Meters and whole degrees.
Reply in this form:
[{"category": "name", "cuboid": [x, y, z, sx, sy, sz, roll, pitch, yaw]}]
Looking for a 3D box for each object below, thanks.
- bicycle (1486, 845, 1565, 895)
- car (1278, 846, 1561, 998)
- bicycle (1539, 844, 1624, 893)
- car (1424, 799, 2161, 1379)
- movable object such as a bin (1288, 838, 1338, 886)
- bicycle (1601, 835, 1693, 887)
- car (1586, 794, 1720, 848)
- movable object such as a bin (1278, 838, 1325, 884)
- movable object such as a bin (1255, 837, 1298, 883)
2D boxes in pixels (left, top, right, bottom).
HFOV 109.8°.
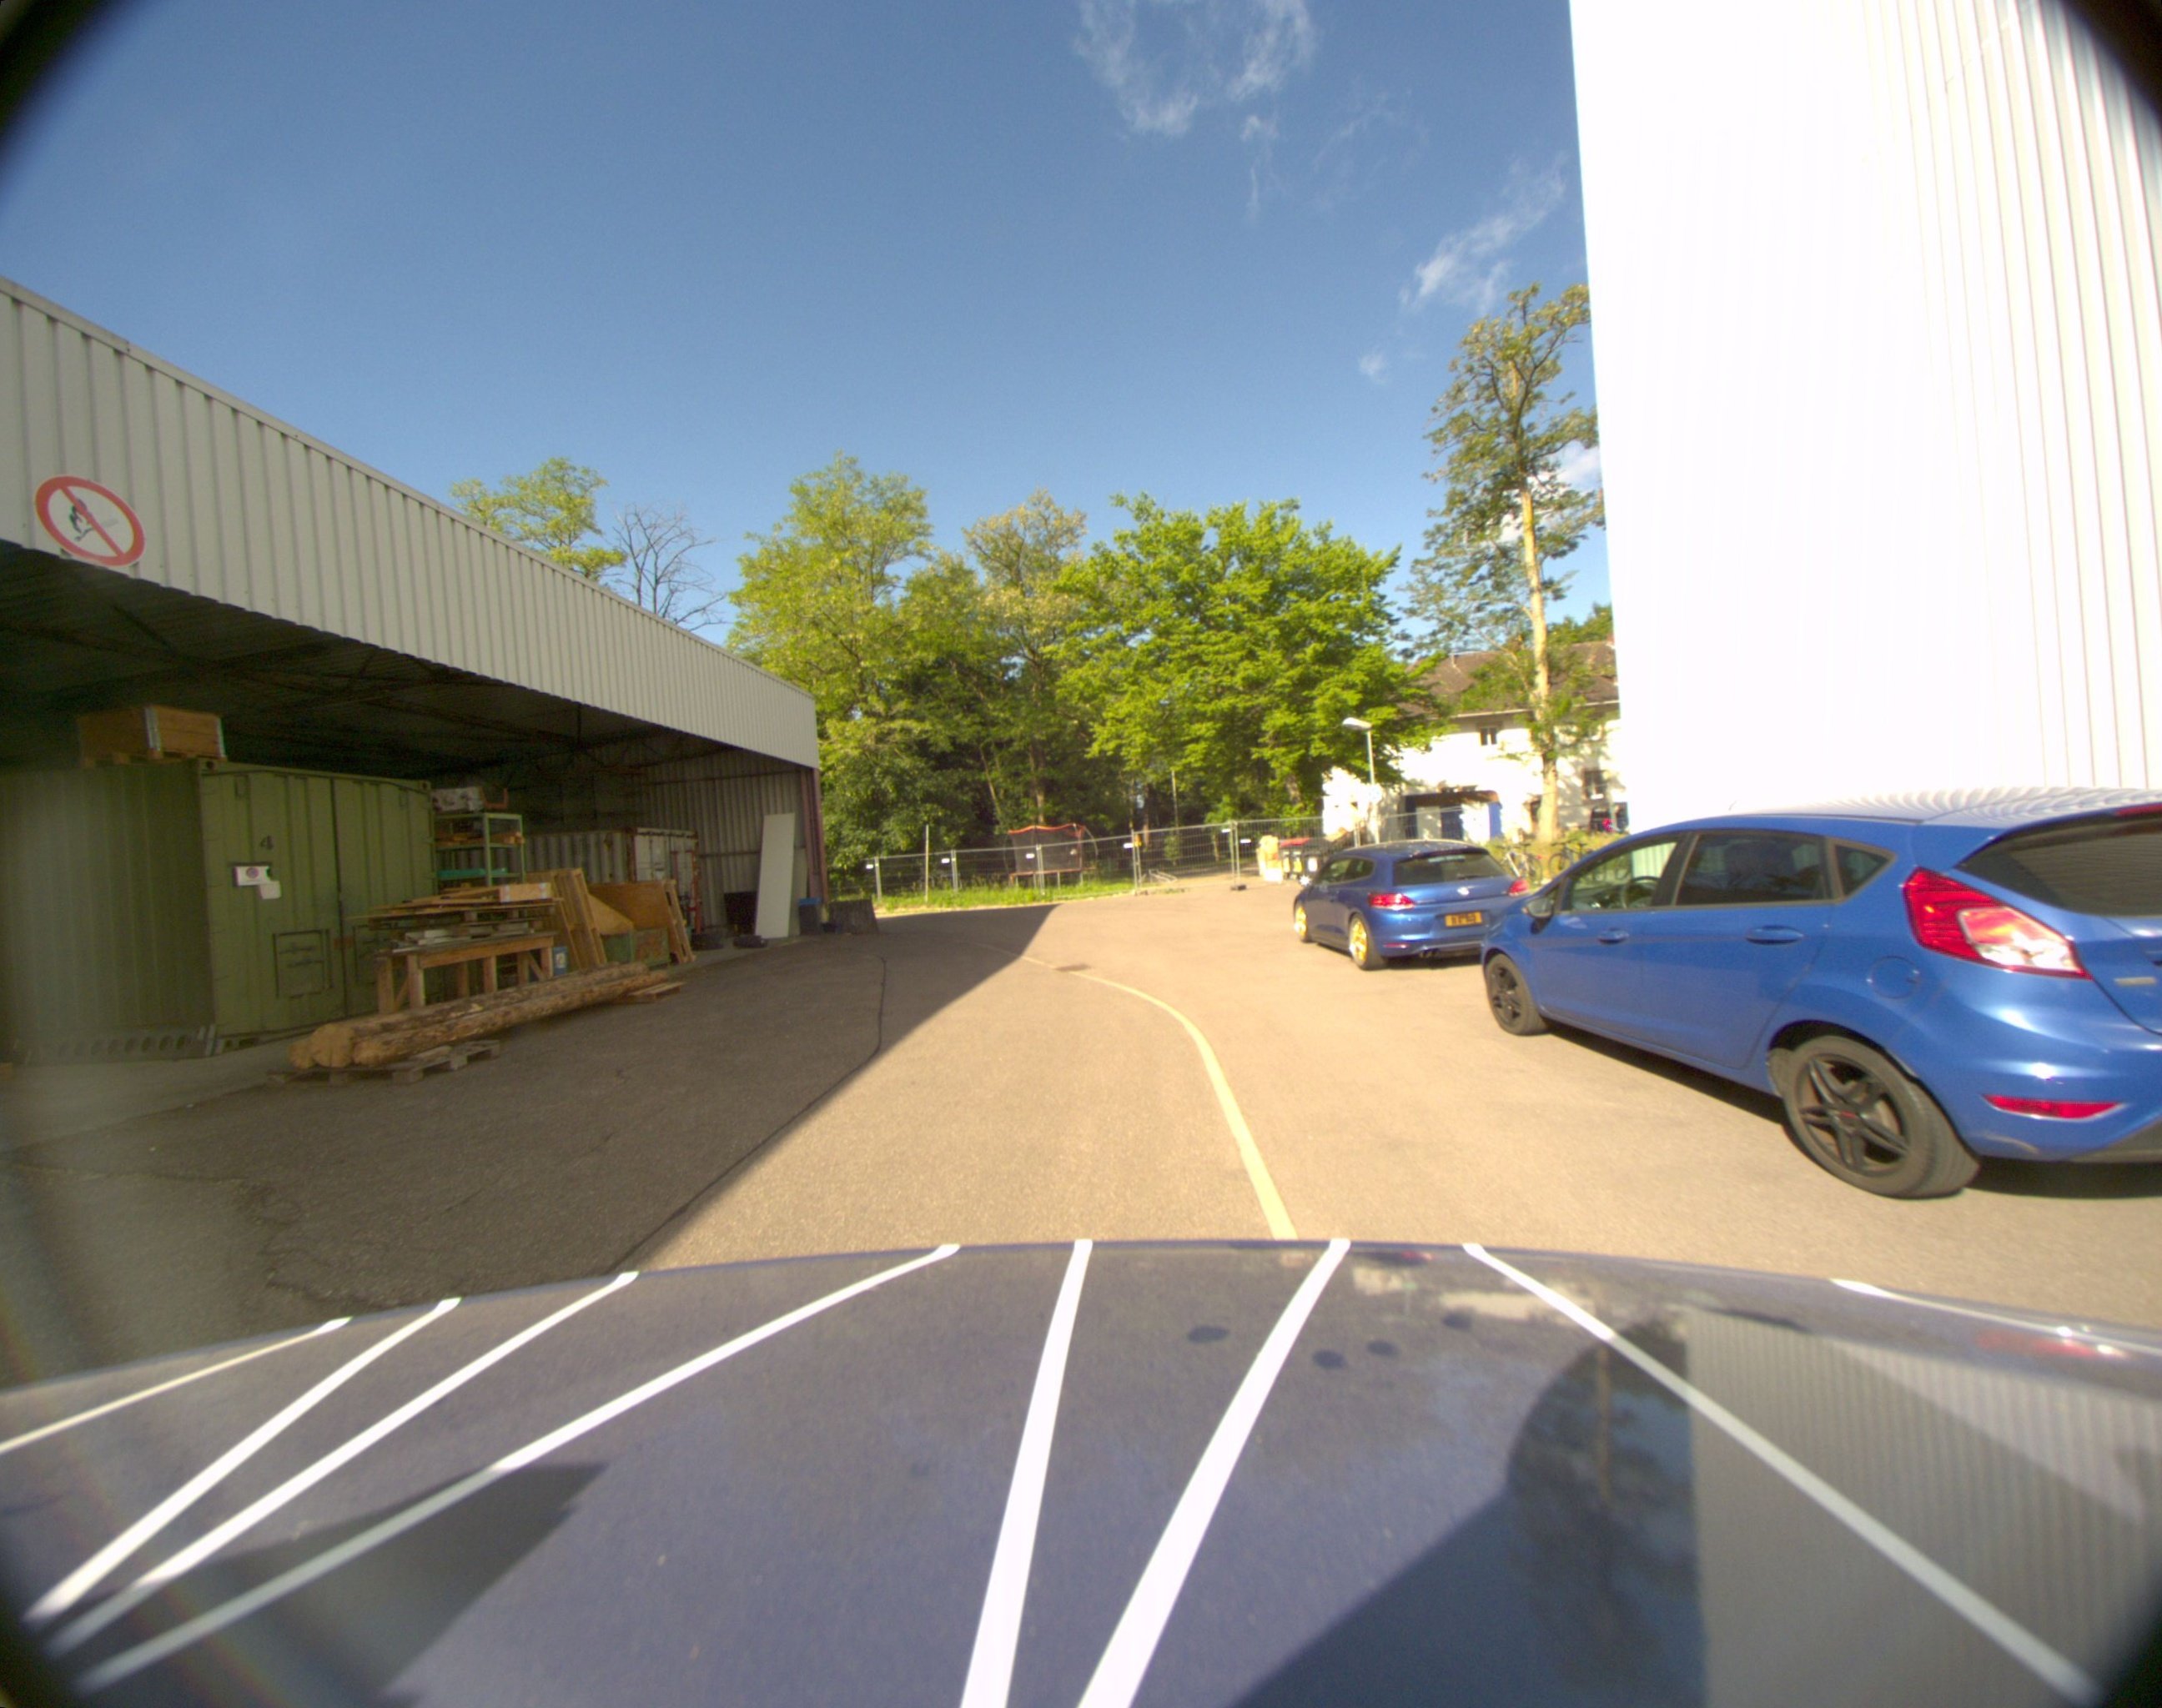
[{"category": "bicycle", "cuboid": [9.655, 0.329, 16.580, 0.482, 0.981, 1.835, -6, 0, -3]}, {"category": "car", "cuboid": [3.863, 0.667, 9.532, 1.778, 1.352, 4.054, -5, 0, 2]}, {"category": "bicycle", "cuboid": [10.859, 0.302, 16.556, 0.482, 0.954, 1.834, -6, 0, -3]}, {"category": "car", "cuboid": [3.623, 0.619, 4.130, 1.634, 1.491, 4.095, -7, 0, 2]}, {"category": "movable object such as a bin", "cuboid": [7.584, 0.241, 24.897, 1.093, 1.424, 1.230, -6, 1, -2]}, {"category": "bicycle", "cuboid": [12.187, 0.142, 16.436, 0.482, 1.031, 1.831, -6, 0, -3]}, {"category": "car", "cuboid": [24.741, -1.414, 33.165, 2.057, 2.001, 4.874, -6, 2, 0]}, {"category": "movable object such as a bin", "cuboid": [7.611, 0.228, 26.231, 1.093, 1.431, 1.230, -6, 1, -2]}, {"category": "movable object such as a bin", "cuboid": [7.228, 0.195, 28.151, 1.093, 1.588, 1.230, -5, 2, -3]}]
